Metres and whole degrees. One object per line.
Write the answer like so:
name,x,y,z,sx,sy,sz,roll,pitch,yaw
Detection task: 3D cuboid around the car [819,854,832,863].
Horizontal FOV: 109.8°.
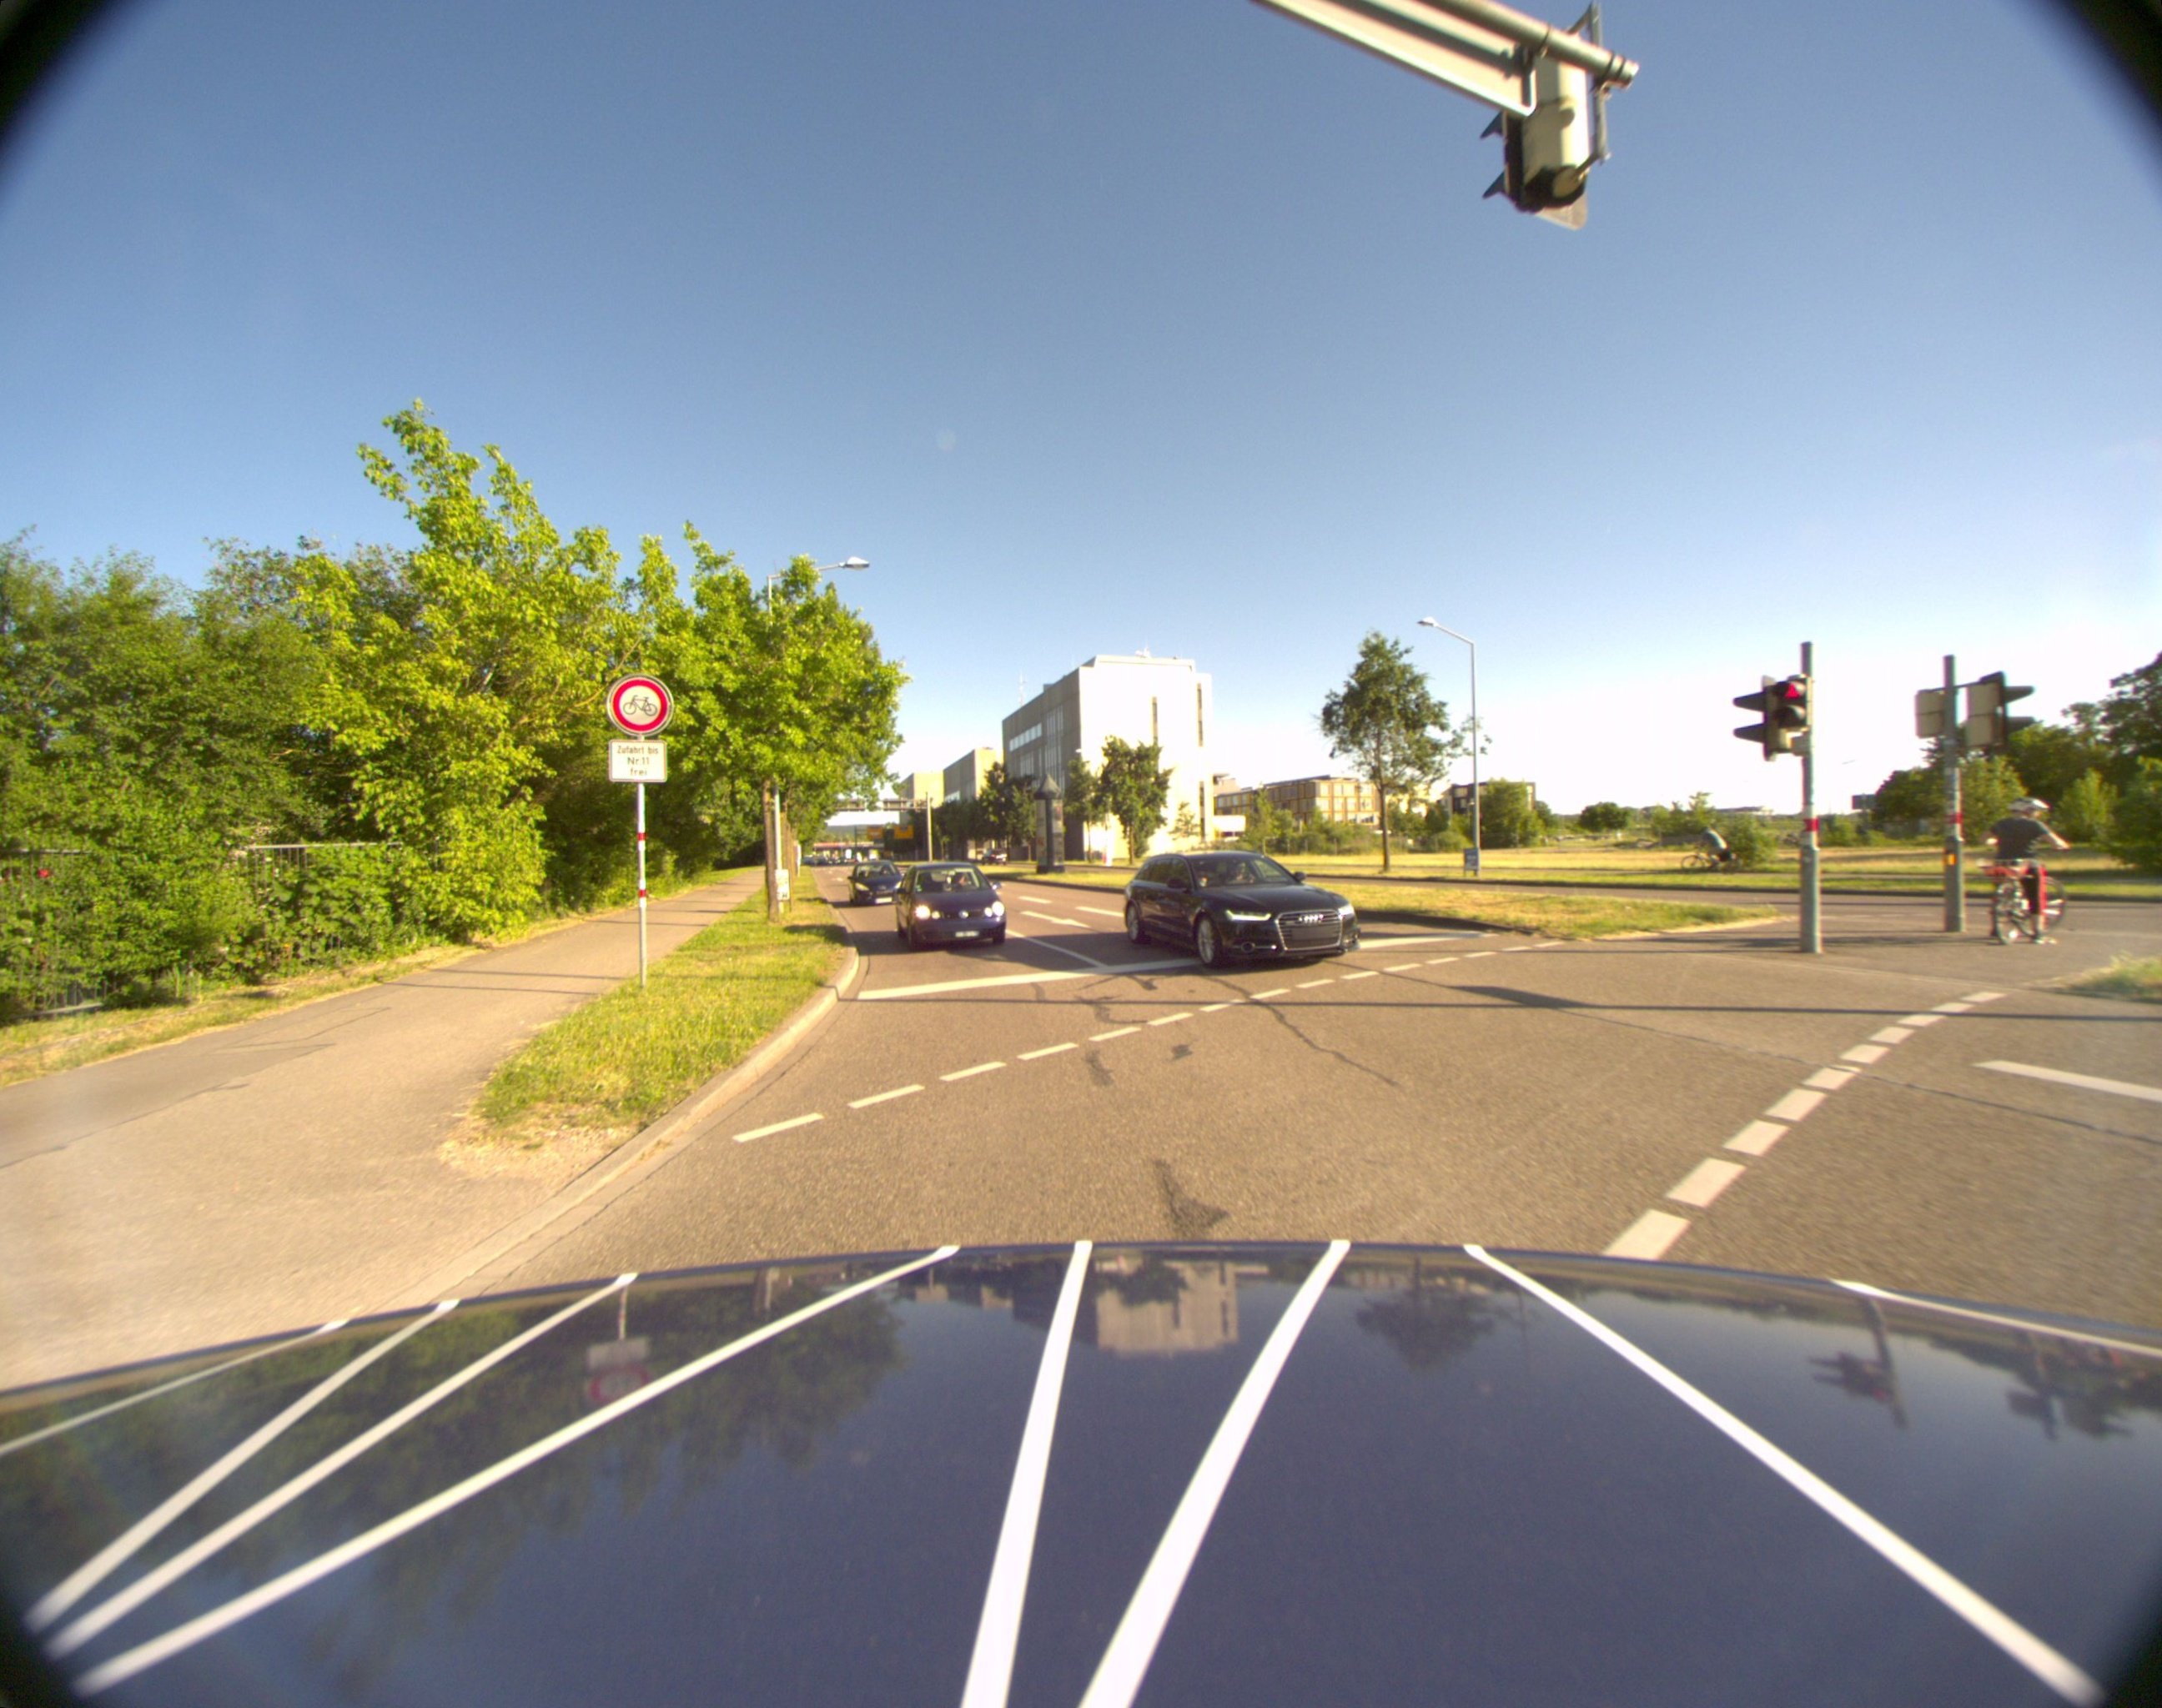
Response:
car,-48.168,0.808,143.205,2.001,1.678,3.994,-2,1,-16

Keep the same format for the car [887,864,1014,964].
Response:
car,-2.630,0.981,14.429,1.639,1.459,4.538,-2,1,-19

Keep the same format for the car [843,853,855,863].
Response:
car,-44.726,0.780,146.529,2.001,1.678,3.994,-2,1,-16

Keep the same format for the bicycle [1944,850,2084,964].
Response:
bicycle,10.573,0.548,8.607,1.657,1.122,0.702,-3,3,-29

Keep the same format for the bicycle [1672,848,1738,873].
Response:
bicycle,22.510,0.236,27.458,0.491,0.847,1.886,-2,1,-15

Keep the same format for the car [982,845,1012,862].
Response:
car,-8.992,-0.076,80.706,2.002,1.729,4.729,-2,1,-20

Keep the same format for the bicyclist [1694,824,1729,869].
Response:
bicyclist,22.572,-0.264,27.209,0.433,1.555,0.850,-2,1,-15

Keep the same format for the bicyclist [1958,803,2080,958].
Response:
bicyclist,10.734,0.272,8.702,0.944,1.654,0.702,-3,3,-29

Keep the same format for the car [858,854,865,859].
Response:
car,-71.330,0.786,246.825,2.002,1.569,3.993,-2,1,-20

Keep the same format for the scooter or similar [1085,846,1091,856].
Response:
scooter or similar,0.774,-0.342,84.196,0.454,1.104,1.405,-2,1,-6

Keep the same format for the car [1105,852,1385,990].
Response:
car,1.965,0.743,10.944,1.799,1.435,5.010,-3,1,-15

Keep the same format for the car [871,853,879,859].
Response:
car,-61.867,0.586,228.173,2.002,1.569,3.993,-2,1,-20

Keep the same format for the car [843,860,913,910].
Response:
car,-7.183,1.010,26.631,1.760,1.446,3.992,-4,2,-22
